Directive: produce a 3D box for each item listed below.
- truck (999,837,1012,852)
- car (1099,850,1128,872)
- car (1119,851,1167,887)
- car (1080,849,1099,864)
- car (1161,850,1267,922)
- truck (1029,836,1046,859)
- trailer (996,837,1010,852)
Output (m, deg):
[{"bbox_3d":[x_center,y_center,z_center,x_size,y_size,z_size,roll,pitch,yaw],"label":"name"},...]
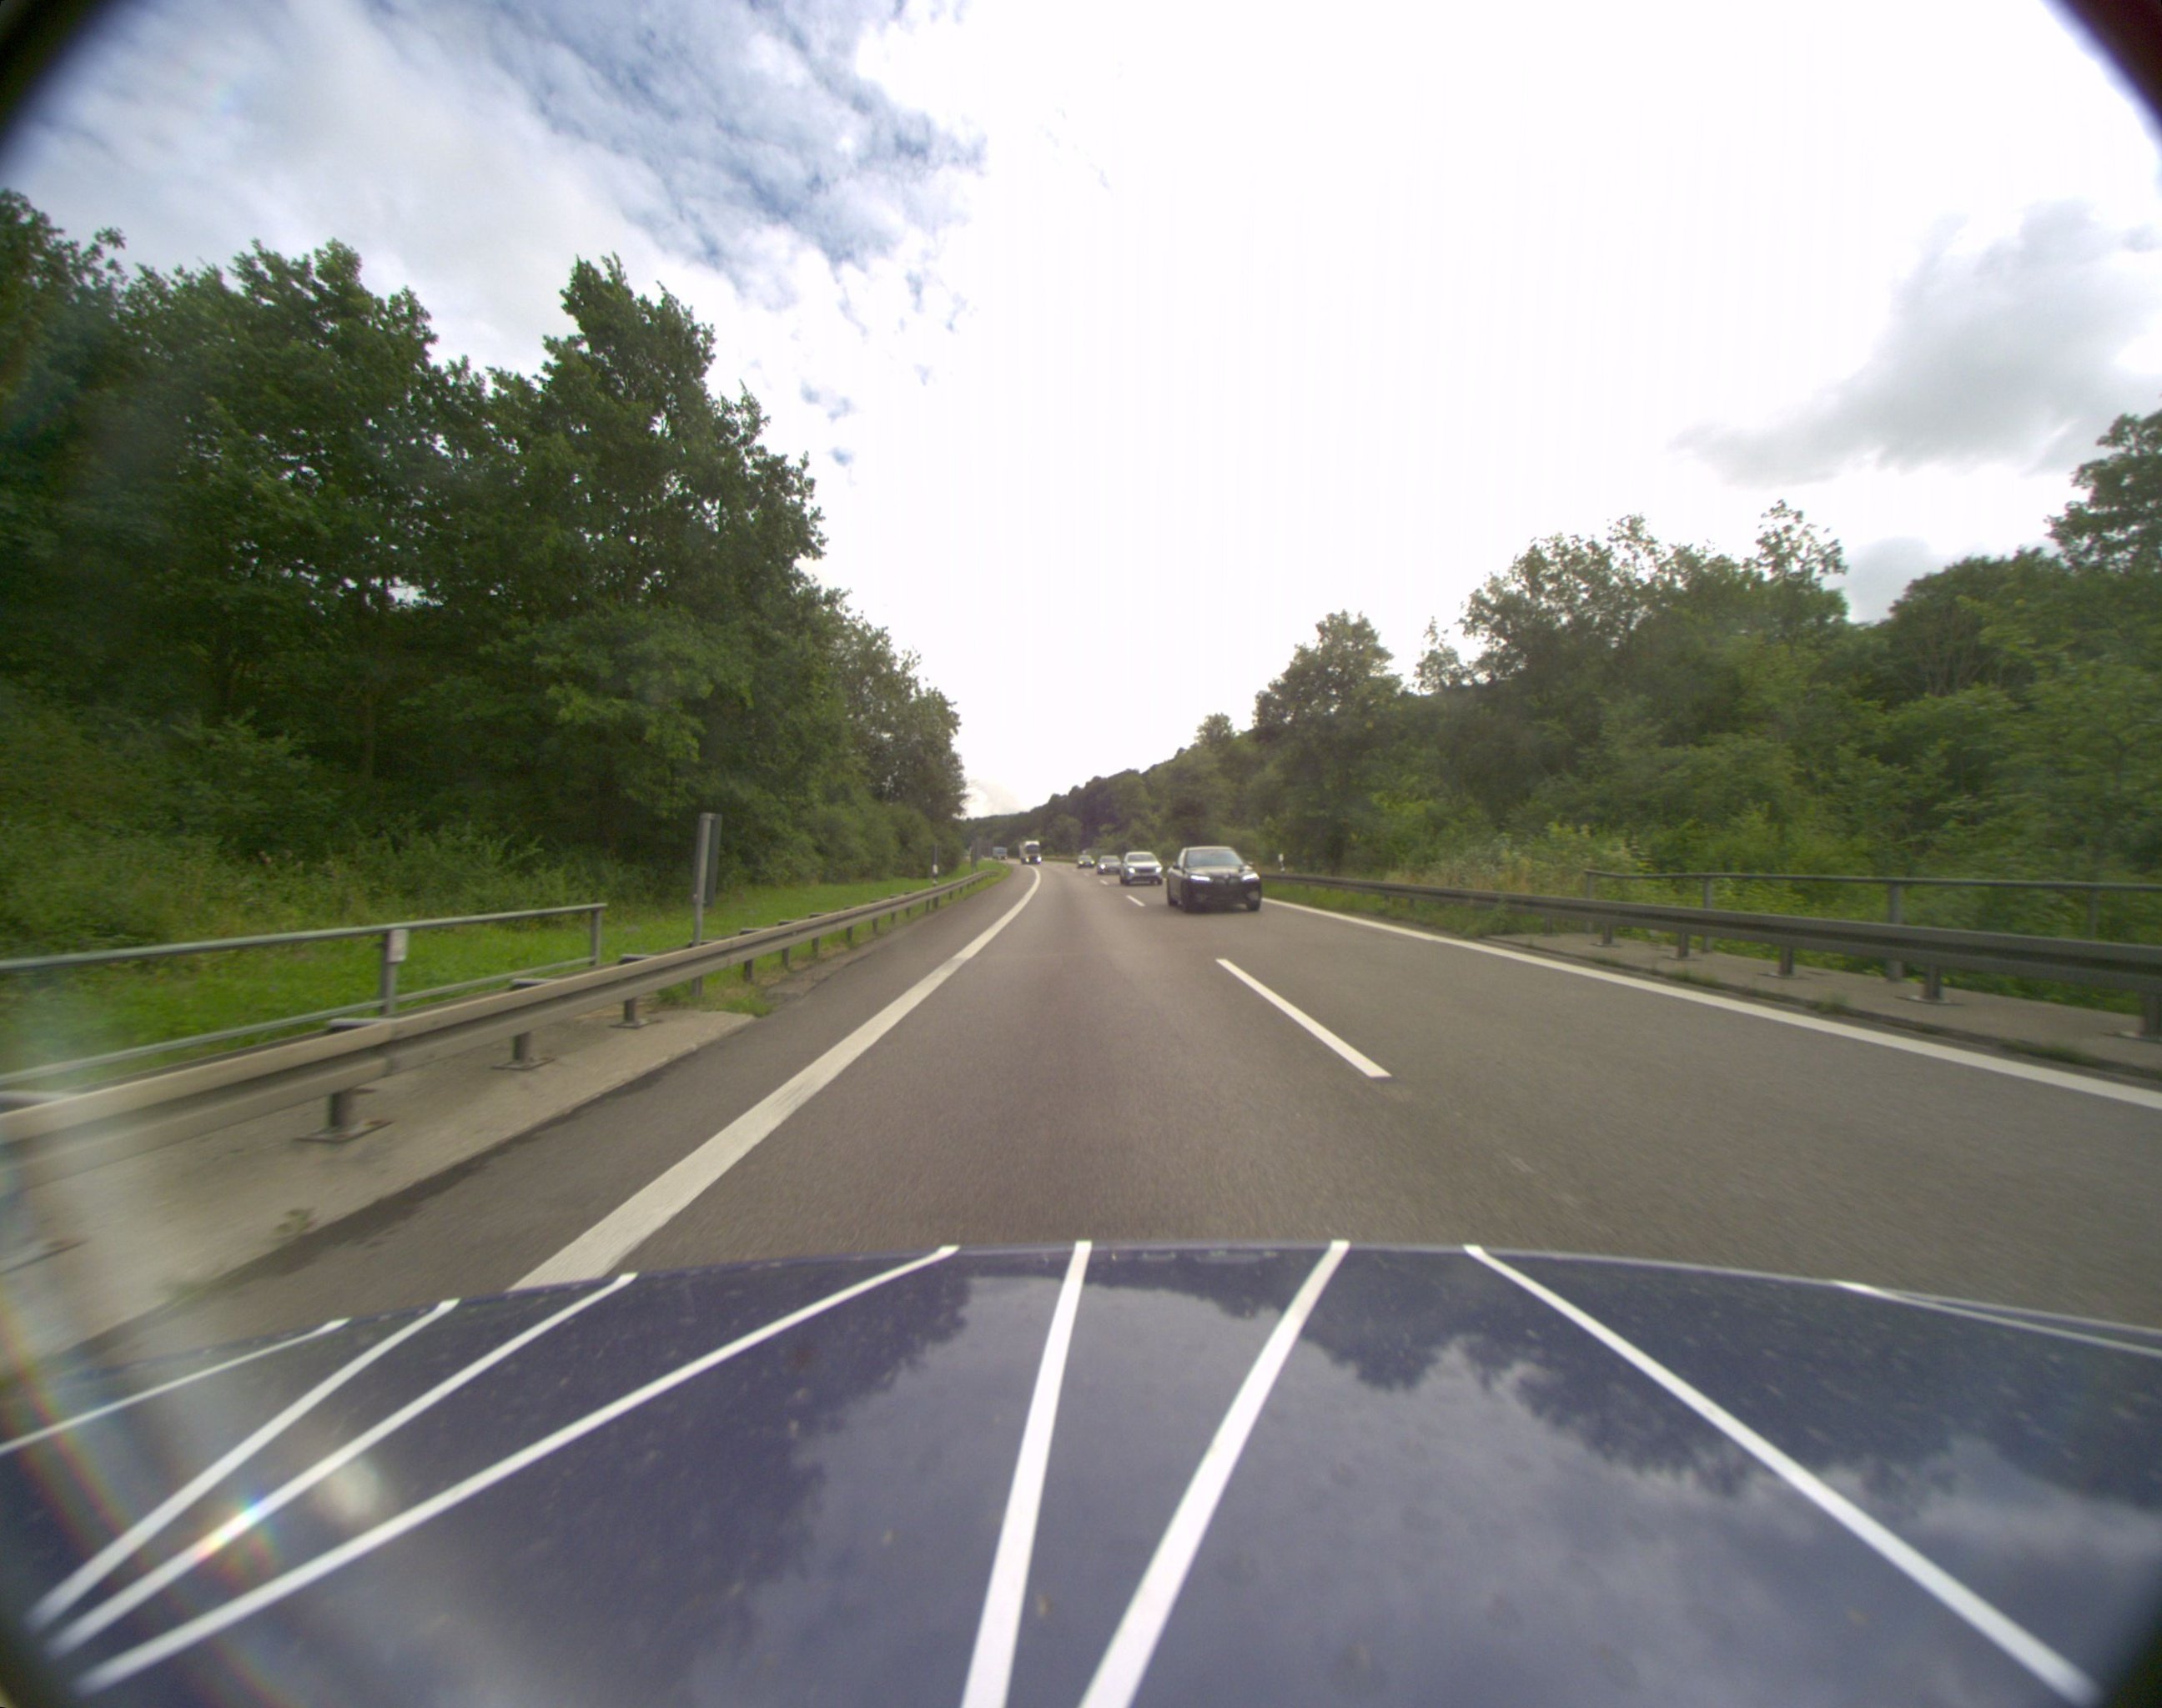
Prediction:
[{"bbox_3d":[-21.220,-2.689,213.916,2.798,3.949,5.933,-1,1,-12],"label":"truck"},{"bbox_3d":[2.586,0.554,61.141,1.999,1.656,4.414,-1,1,-1],"label":"car"},{"bbox_3d":[3.125,0.722,39.084,1.999,1.656,4.413,-1,1,-1],"label":"car"},{"bbox_3d":[0.961,0.283,88.012,1.999,1.656,4.413,-1,2,-1],"label":"car"},{"bbox_3d":[3.504,0.772,20.810,1.999,1.656,4.414,-3,1,-1],"label":"car"},{"bbox_3d":[-7.557,-1.192,132.607,2.796,3.949,5.938,-1,1,-1],"label":"truck"},{"bbox_3d":[-22.684,-2.753,220.629,2.789,3.932,11.282,-1,1,-12],"label":"trailer"}]
